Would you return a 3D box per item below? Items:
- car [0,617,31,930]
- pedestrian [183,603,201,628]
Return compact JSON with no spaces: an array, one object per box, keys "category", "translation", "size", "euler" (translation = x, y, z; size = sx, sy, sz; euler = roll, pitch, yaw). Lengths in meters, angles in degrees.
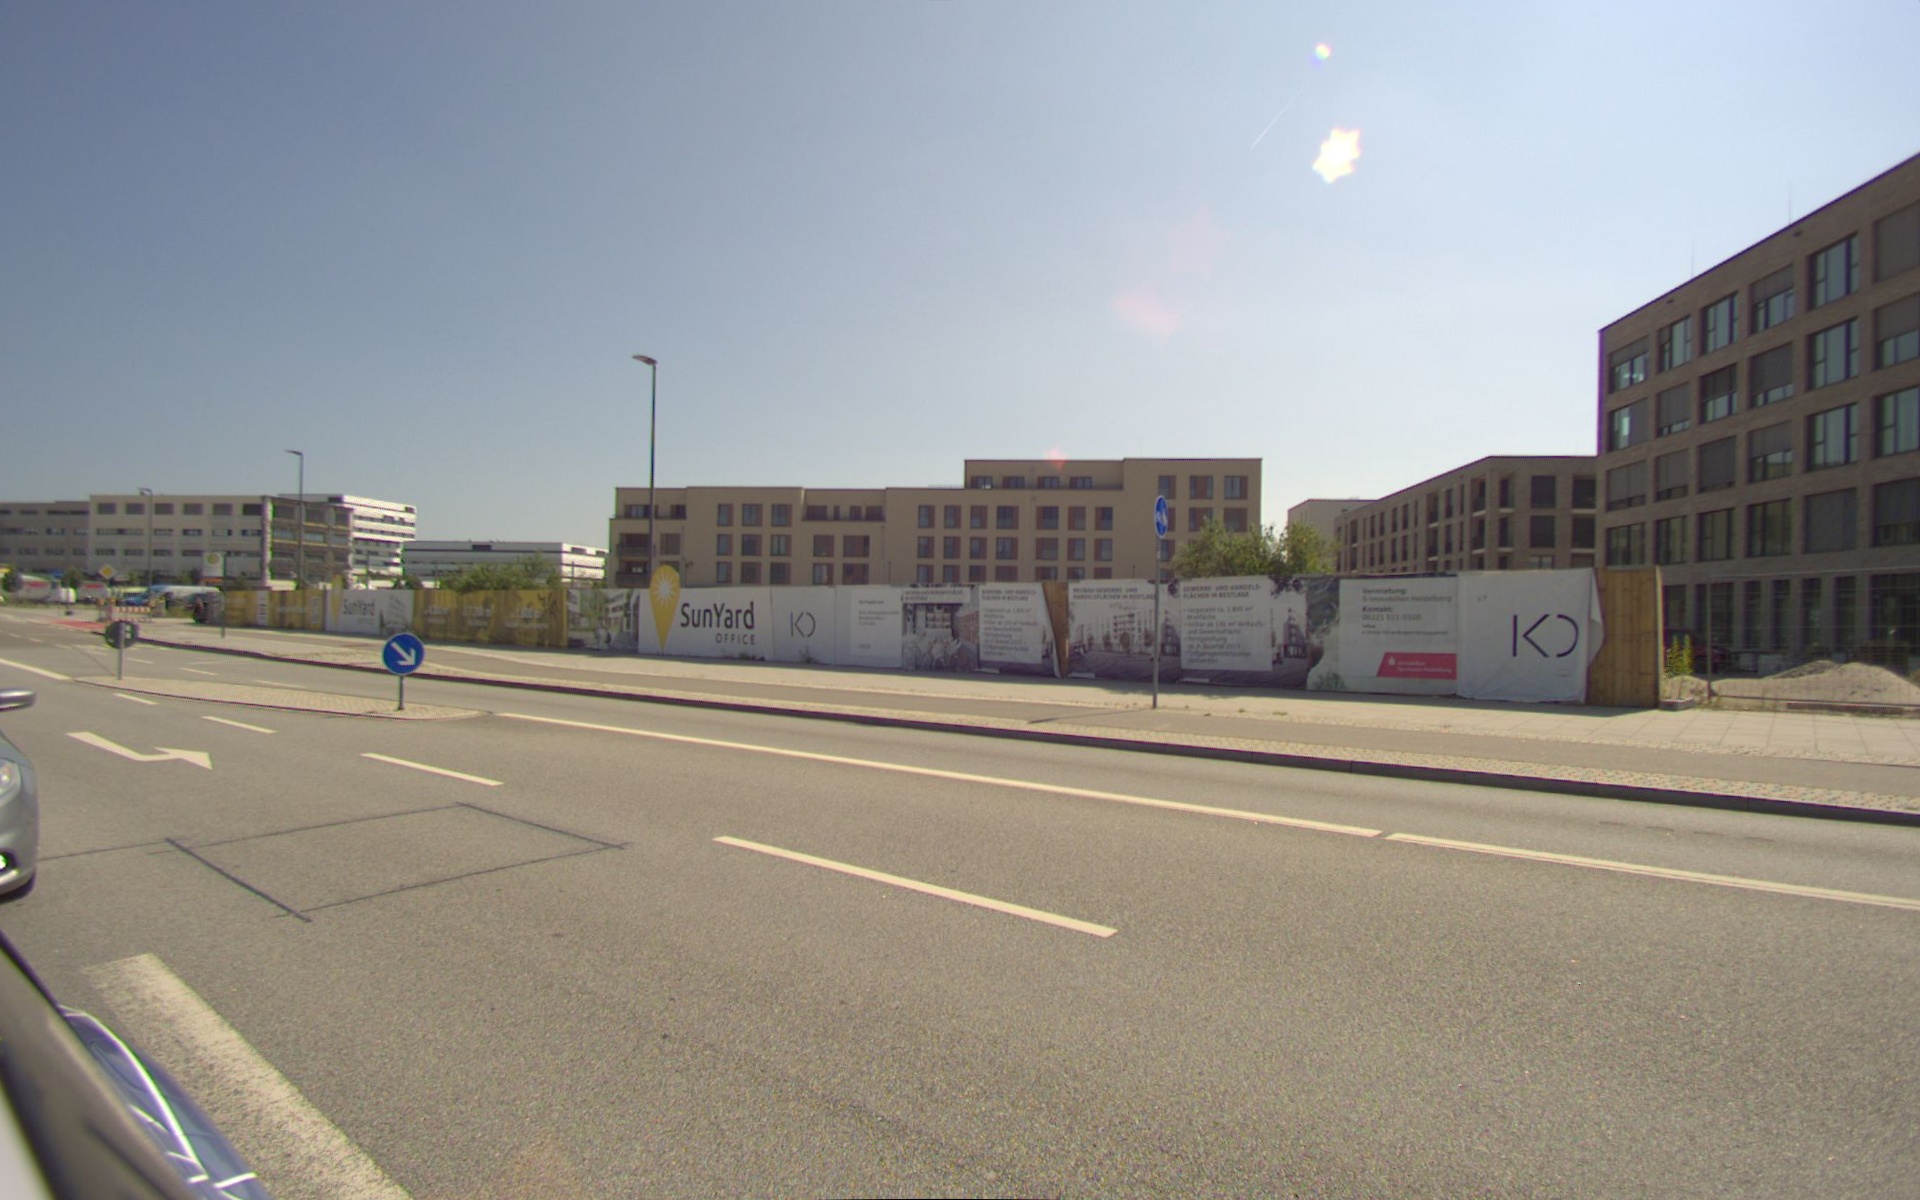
[{"category":"car","translation":[-6.342,0.803,5.285],"size":[4.134,1.390,1.762],"euler":[-1,0,41]},{"category":"pedestrian","translation":[-48.997,0.986,64.542],"size":[0.610,1.598,0.703],"euler":[-1,0,5]}]
